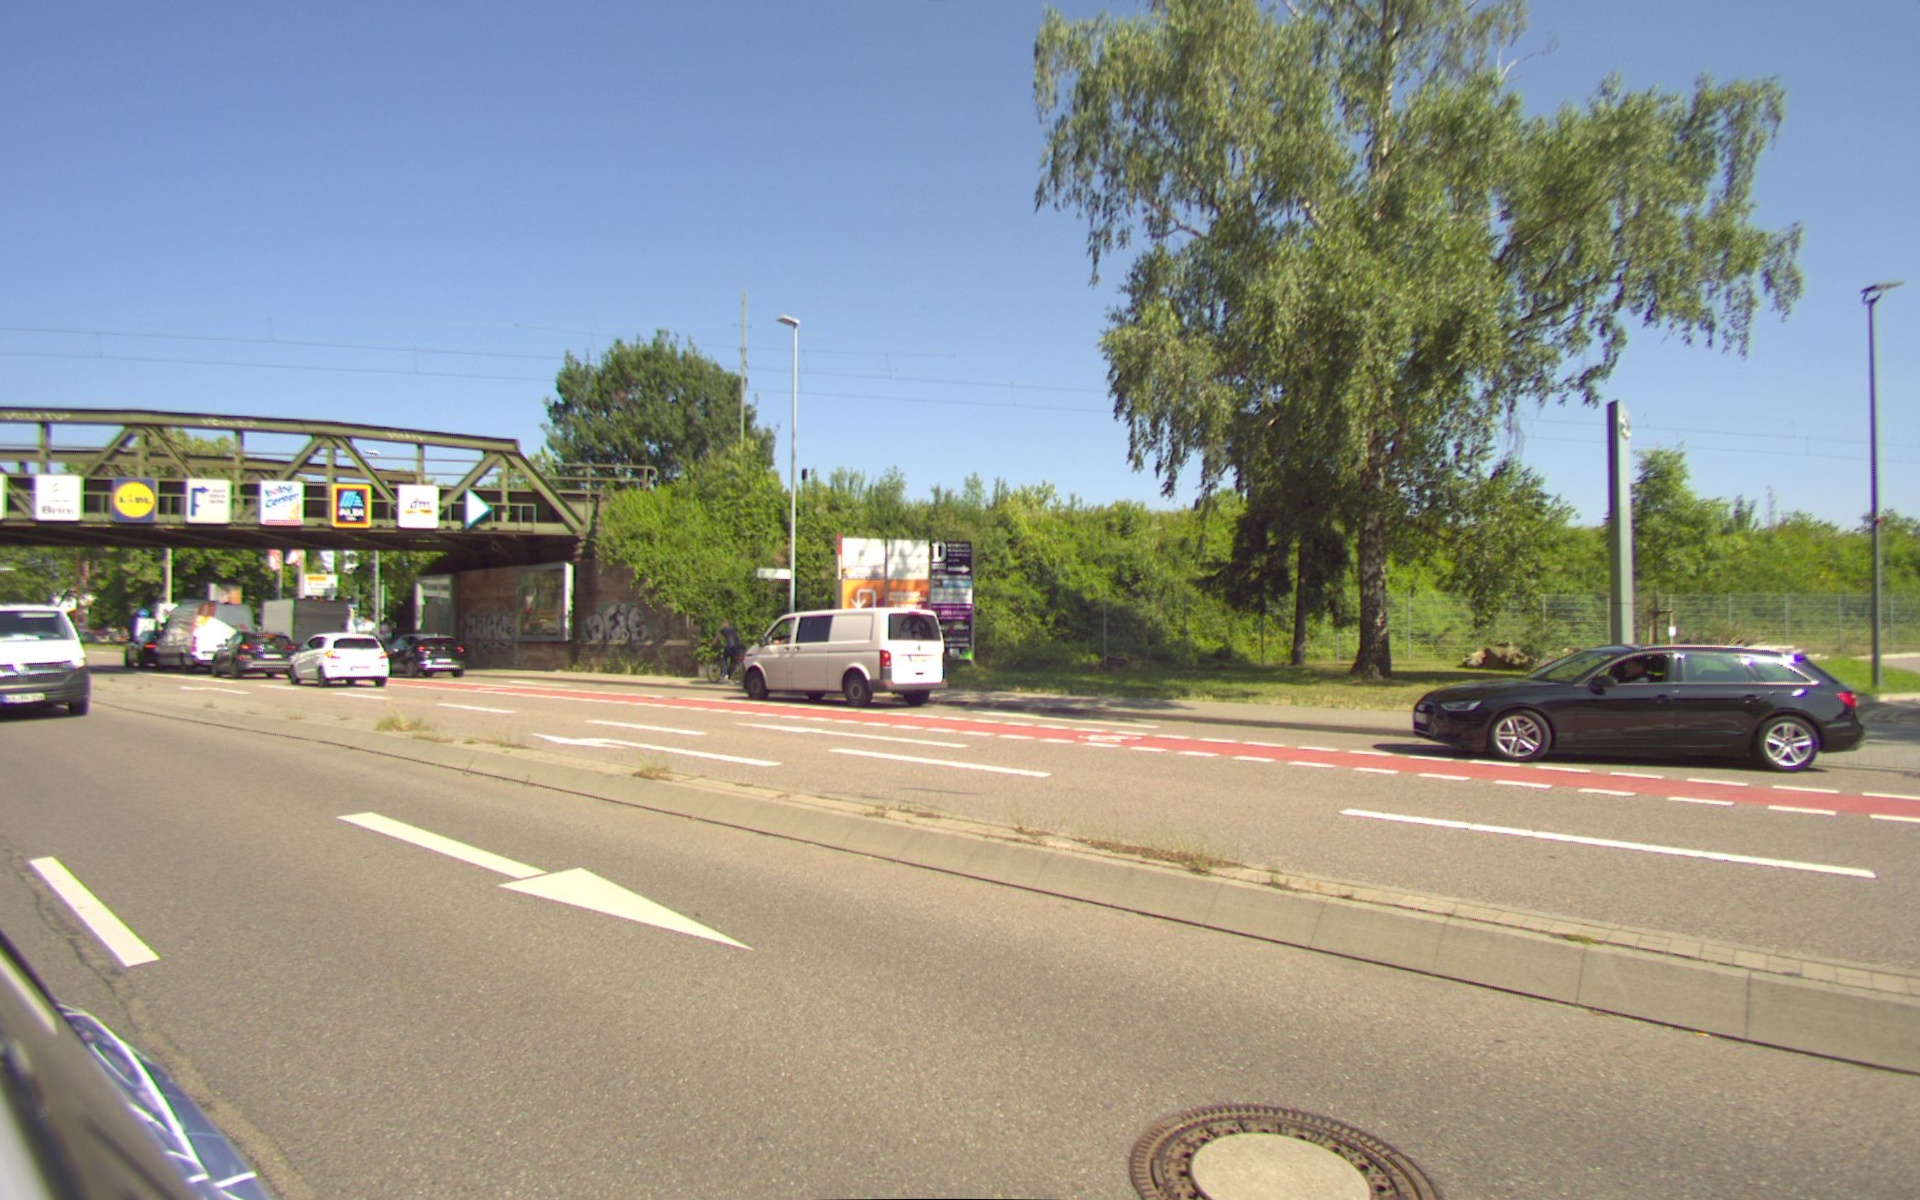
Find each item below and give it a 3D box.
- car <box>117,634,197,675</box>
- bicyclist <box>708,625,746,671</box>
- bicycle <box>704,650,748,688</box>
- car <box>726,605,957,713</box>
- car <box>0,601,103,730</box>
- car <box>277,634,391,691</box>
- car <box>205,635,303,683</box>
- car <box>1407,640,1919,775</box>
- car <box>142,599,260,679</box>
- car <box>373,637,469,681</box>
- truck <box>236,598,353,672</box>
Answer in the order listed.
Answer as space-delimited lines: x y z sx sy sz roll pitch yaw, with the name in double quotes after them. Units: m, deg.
-35.190 2.341 44.314 4.949 1.694 1.972 -2 -3 42 "car"
-6.527 1.340 28.338 0.626 1.237 0.951 2 -3 -44 "bicyclist"
-6.598 1.930 28.460 0.440 1.035 1.617 2 -3 -44 "bicycle"
-2.647 1.214 21.584 5.348 2.029 1.971 -2 -3 44 "car"
-16.726 1.083 17.538 4.967 2.009 1.864 -2 -3 38 "car"
-17.692 1.766 28.528 3.826 1.506 1.626 -3 -5 41 "car"
-23.709 2.004 33.939 4.176 1.506 1.749 -3 -5 42 "car"
8.162 1.207 12.247 4.627 1.424 1.995 0 -2 9 "car"
-29.339 1.539 39.004 6.932 2.827 1.973 -2 -5 40 "car"
-19.652 2.154 36.839 4.176 1.506 1.749 -3 -5 42 "car"
-30.303 1.593 45.966 7.060 3.112 2.318 -2 -2 38 "truck"
